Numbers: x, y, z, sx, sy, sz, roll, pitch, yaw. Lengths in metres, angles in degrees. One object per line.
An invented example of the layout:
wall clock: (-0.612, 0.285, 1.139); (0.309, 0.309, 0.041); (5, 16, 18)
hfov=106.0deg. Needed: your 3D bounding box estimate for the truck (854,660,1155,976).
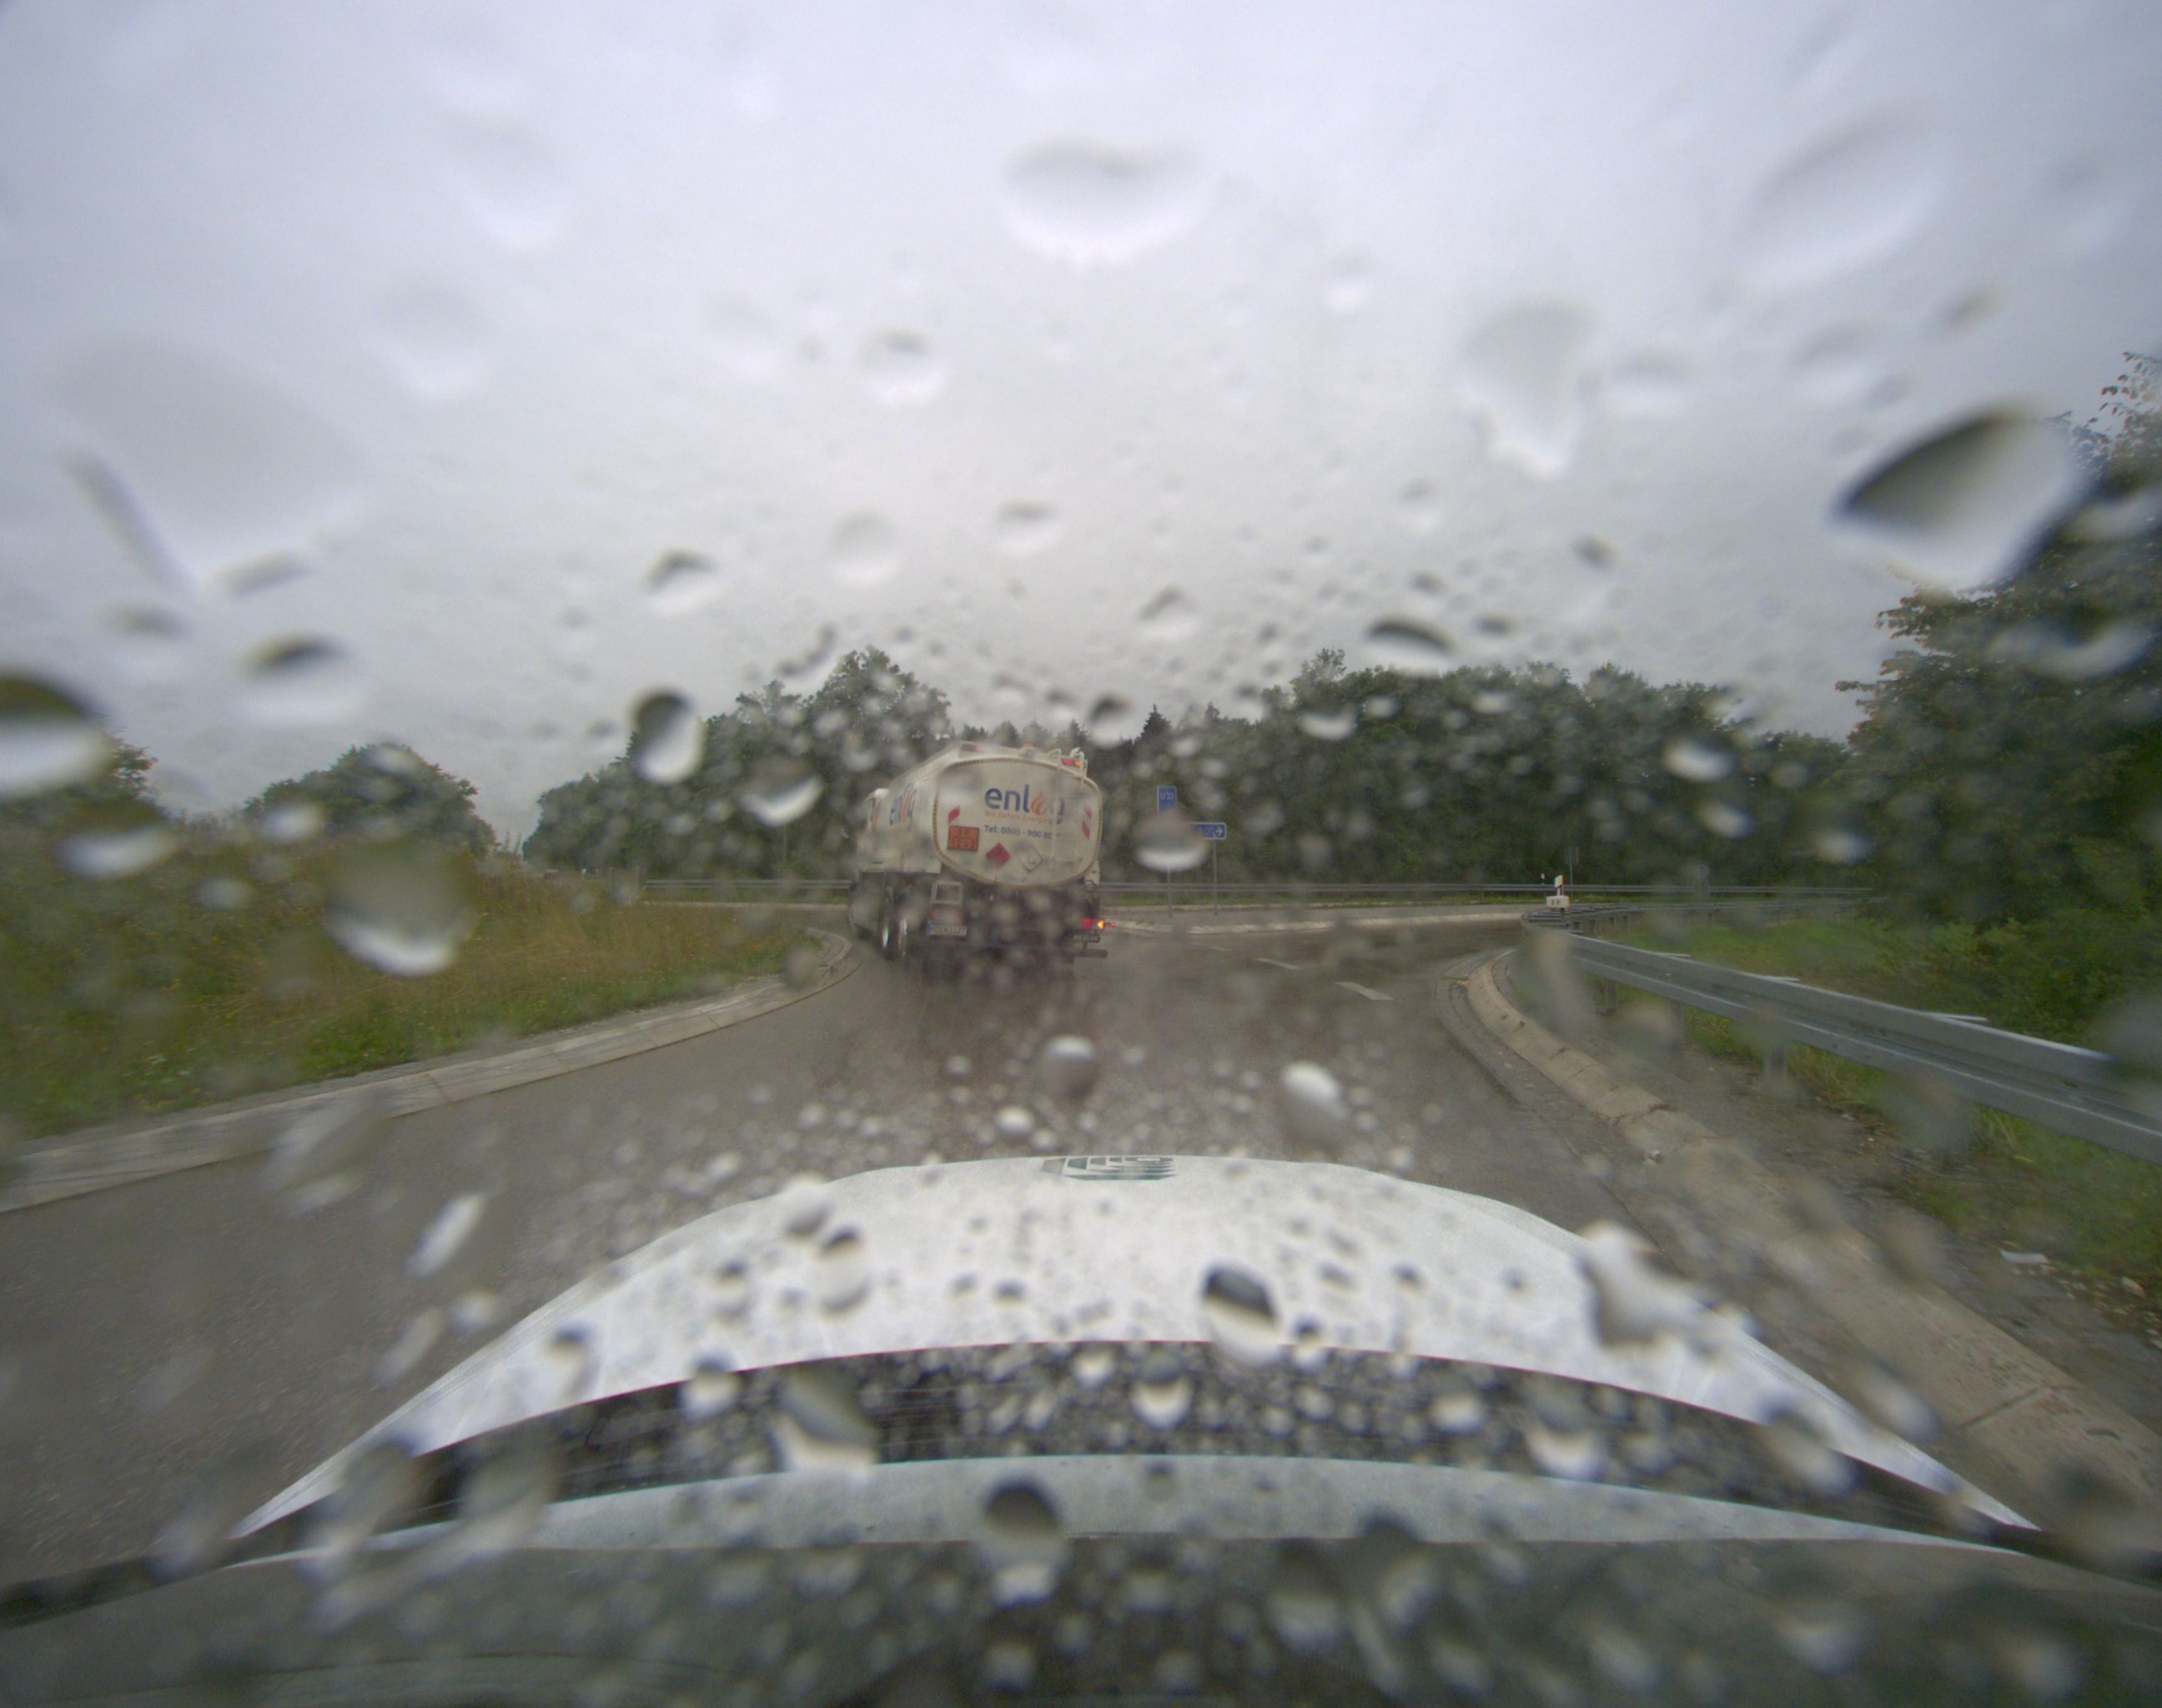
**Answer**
truck: (-2.005, -0.399, 14.578); (3.051, 3.852, 8.759); (1, -1, -21)
